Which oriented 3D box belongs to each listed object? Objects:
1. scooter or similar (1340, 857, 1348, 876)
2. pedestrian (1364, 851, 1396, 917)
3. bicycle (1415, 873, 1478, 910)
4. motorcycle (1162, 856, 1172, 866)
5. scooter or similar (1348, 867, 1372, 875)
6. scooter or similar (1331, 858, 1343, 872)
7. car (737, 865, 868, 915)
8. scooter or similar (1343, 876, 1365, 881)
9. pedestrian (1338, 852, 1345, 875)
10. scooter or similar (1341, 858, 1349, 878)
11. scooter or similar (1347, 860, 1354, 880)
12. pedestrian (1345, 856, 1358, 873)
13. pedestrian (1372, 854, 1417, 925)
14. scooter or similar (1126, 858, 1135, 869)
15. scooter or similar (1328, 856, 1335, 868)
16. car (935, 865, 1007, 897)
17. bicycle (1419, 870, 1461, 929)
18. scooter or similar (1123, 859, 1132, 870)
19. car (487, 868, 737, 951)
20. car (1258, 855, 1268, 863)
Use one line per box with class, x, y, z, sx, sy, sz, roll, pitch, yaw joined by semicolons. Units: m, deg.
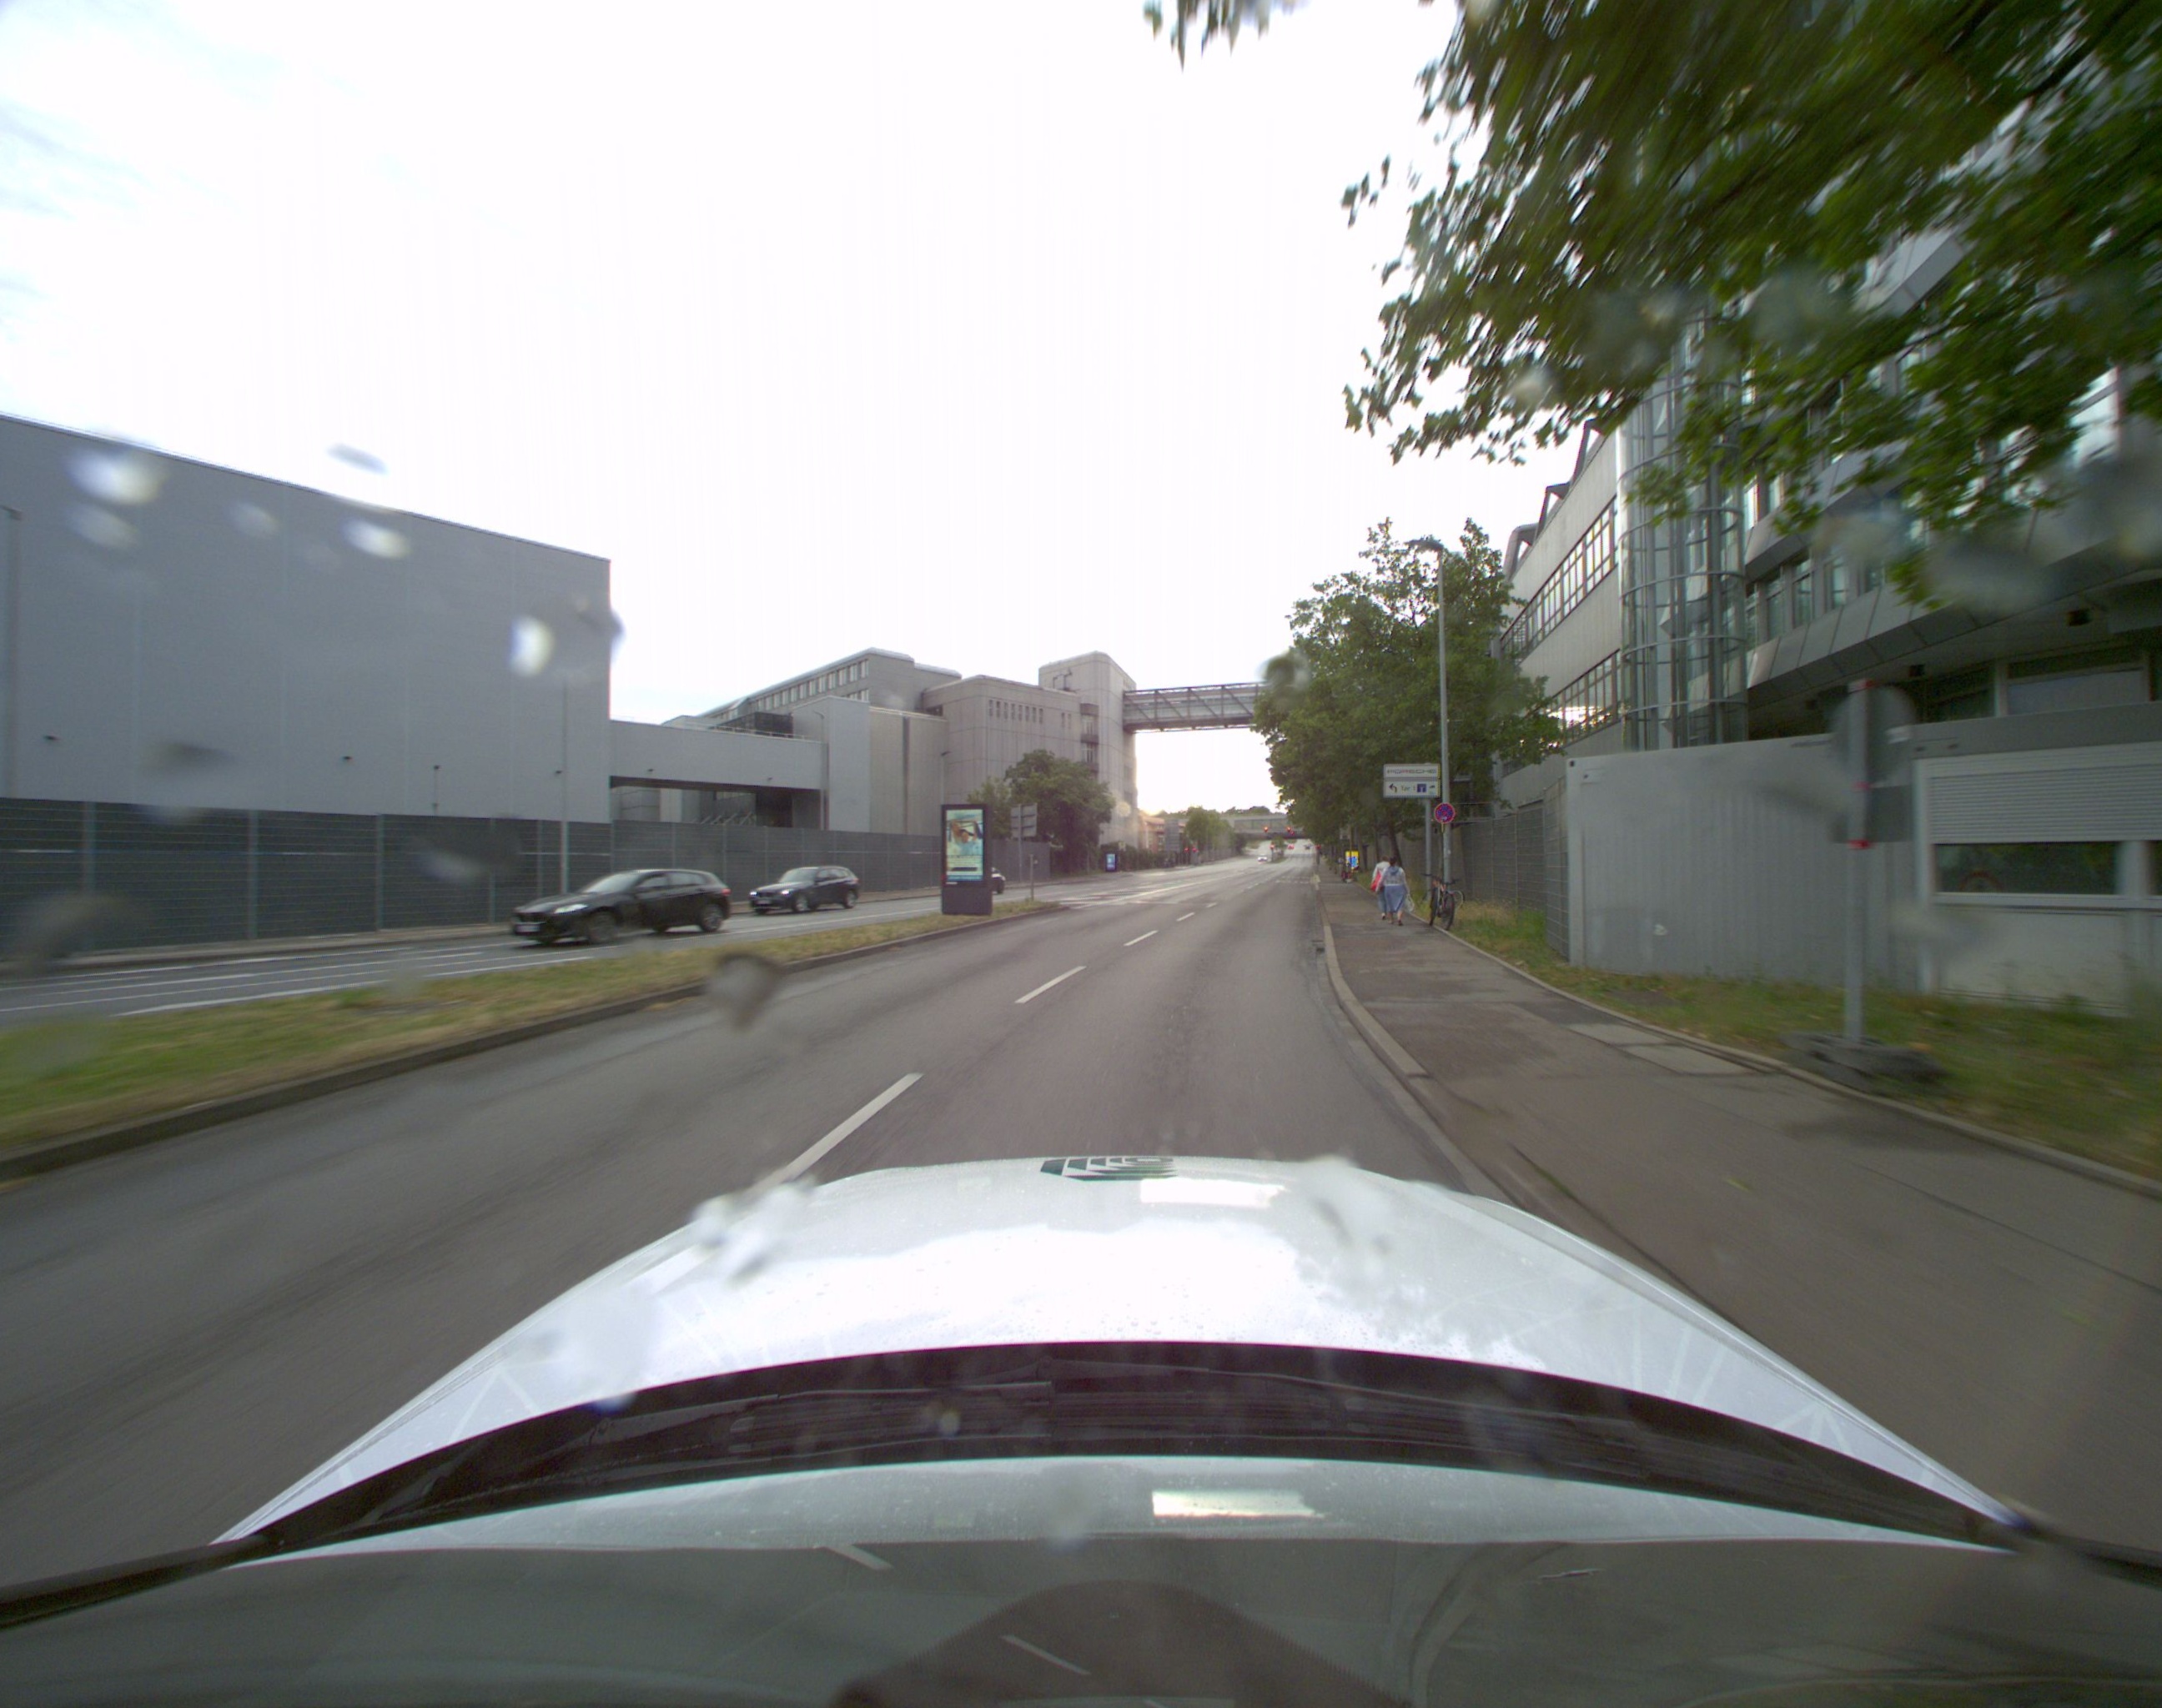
scooter or similar;18.825;0.899;58.313;0.499;1.293;1.440;-1;0;16
pedestrian;7.394;0.732;20.160;0.703;1.592;0.845;-1;-1;20
bicycle;10.167;1.024;22.690;0.514;0.953;1.688;-1;0;-24
motorcycle;13.184;1.049;124.965;0.952;1.556;3.312;-1;0;14
scooter or similar;20.232;1.233;59.091;1.546;0.519;0.647;-1;0;32
scooter or similar;23.062;0.987;73.248;0.692;1.244;1.933;-1;0;27
car;-9.456;1.188;28.130;1.768;1.454;4.583;-2;-1;19
scooter or similar;16.418;1.480;48.972;0.652;0.246;1.521;-1;0;-6
pedestrian;19.707;0.718;61.597;0.477;1.667;0.664;-1;0;13
scooter or similar;17.421;0.940;53.816;0.430;1.270;1.199;-1;0;16
scooter or similar;16.704;0.997;50.496;0.385;1.226;1.078;-1;0;16
pedestrian;21.627;0.820;65.181;0.942;1.317;0.689;-1;-1;22
pedestrian;6.872;0.773;17.910;0.825;1.520;0.845;-1;-1;15
scooter or similar;5.954;1.163;98.500;0.493;1.252;1.931;-1;0;21
scooter or similar;29.139;0.895;94.839;0.603;1.366;1.931;-1;0;21
car;-5.349;1.301;40.179;1.769;1.385;4.565;-3;-1;16
bicycle;7.435;0.911;16.938;0.339;1.118;1.978;-1;0;10
scooter or similar;5.552;1.194;96.518;0.520;1.252;1.808;-1;0;21
car;-9.620;1.058;17.166;1.767;1.440;4.419;-1;0;21
car;39.886;1.091;178.623;1.980;1.772;4.014;-1;0;12
